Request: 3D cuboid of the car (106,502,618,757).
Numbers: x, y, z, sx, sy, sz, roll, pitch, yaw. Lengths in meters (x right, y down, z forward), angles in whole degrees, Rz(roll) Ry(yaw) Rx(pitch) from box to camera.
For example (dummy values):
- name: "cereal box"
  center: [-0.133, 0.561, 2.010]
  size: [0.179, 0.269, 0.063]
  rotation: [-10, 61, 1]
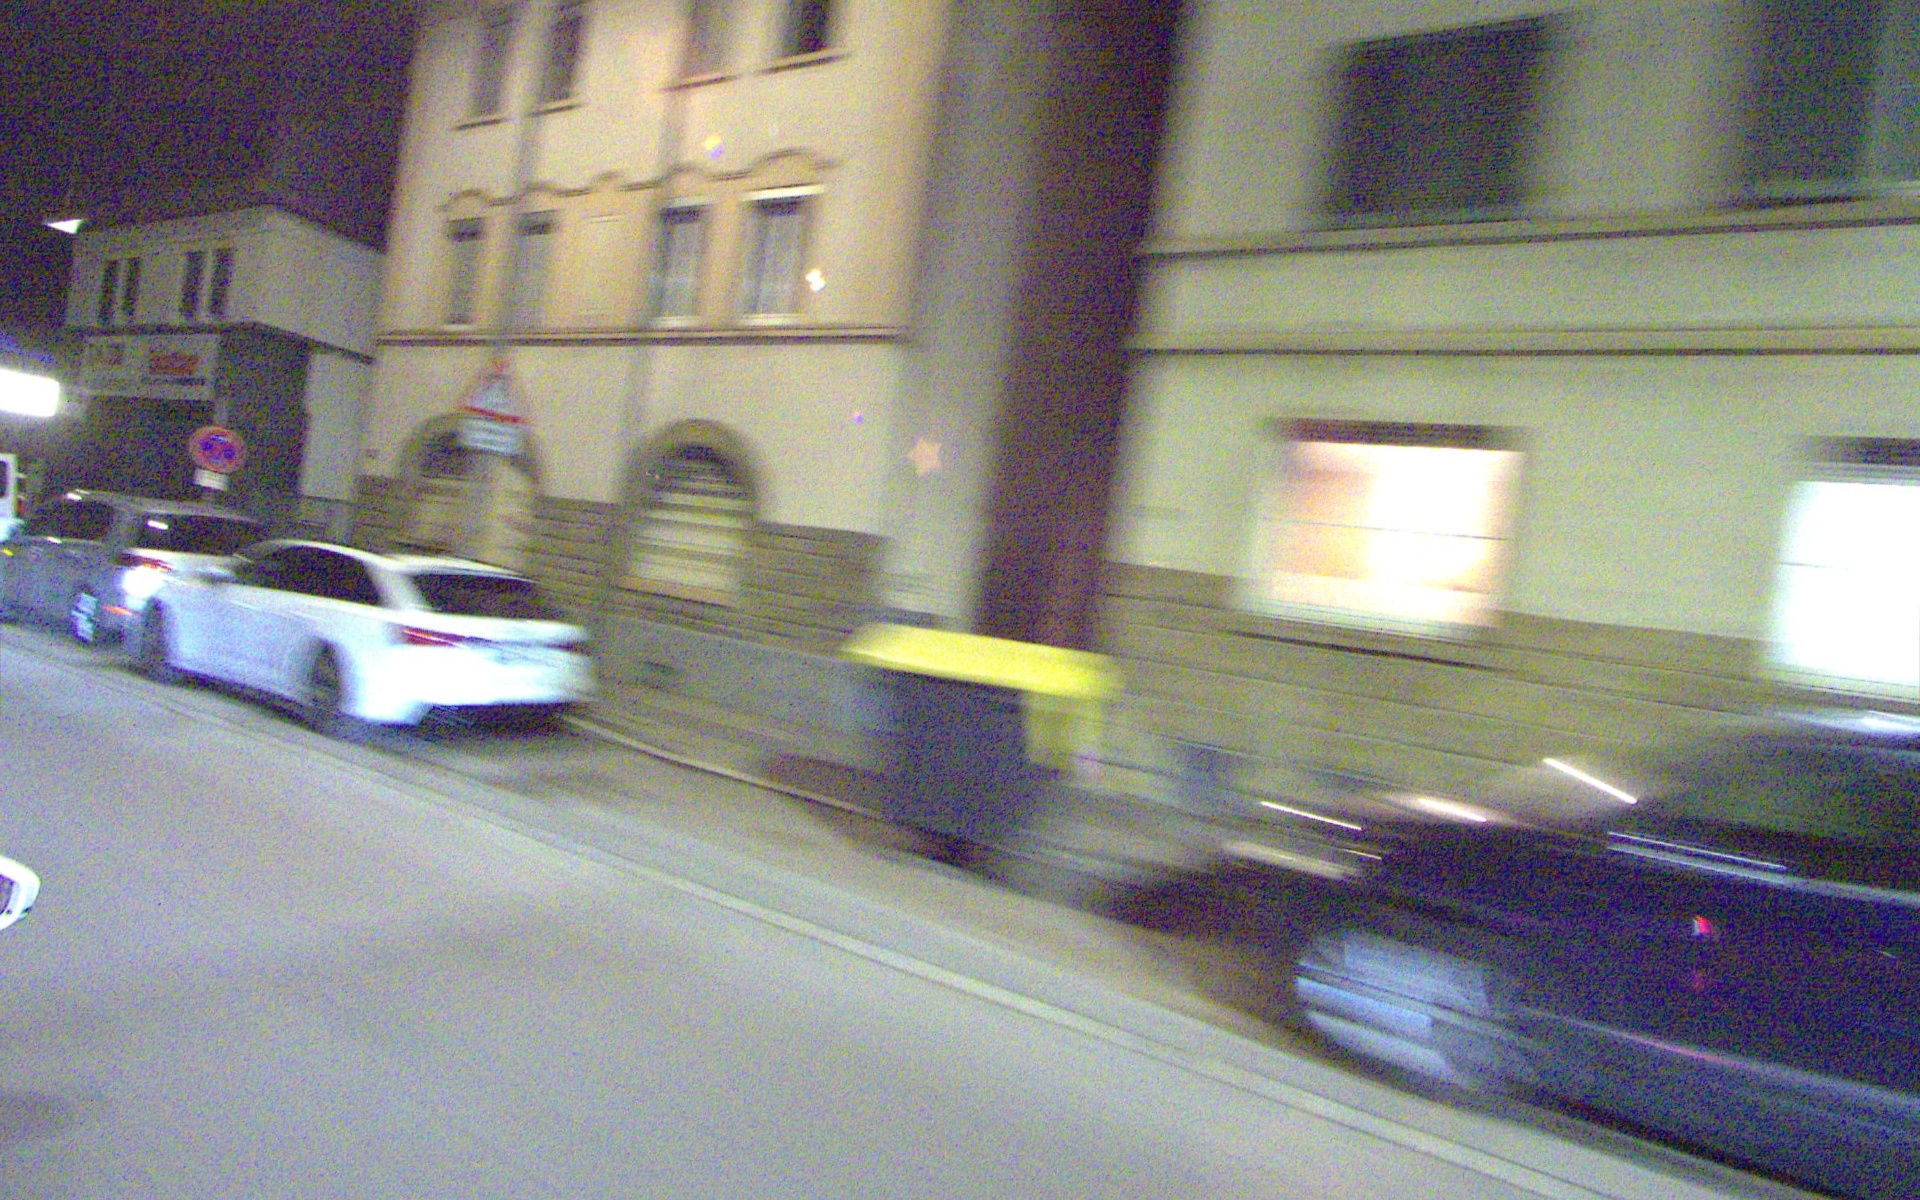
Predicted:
- name: "car"
  center: [-5.454, 0.146, 8.989]
  size: [4.751, 1.528, 1.746]
  rotation: [7, 1, 30]

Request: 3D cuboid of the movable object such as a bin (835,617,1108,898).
- name: "movable object such as a bin"
  center: [0.086, 0.923, 6.418]
  size: [1.315, 1.450, 0.939]
  rotation: [7, 1, 27]

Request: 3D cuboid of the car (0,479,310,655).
- name: "car"
  center: [-9.658, -0.428, 11.688]
  size: [4.139, 1.585, 1.746]
  rotation: [7, 1, 30]

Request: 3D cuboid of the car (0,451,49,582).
- name: "car"
  center: [-17.094, -1.588, 16.161]
  size: [5.280, 1.953, 2.075]
  rotation: [7, 1, 30]

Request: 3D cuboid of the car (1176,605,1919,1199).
- name: "car"
  center: [3.233, 1.135, 3.957]
  size: [4.186, 1.704, 1.746]
  rotation: [7, 1, 30]
